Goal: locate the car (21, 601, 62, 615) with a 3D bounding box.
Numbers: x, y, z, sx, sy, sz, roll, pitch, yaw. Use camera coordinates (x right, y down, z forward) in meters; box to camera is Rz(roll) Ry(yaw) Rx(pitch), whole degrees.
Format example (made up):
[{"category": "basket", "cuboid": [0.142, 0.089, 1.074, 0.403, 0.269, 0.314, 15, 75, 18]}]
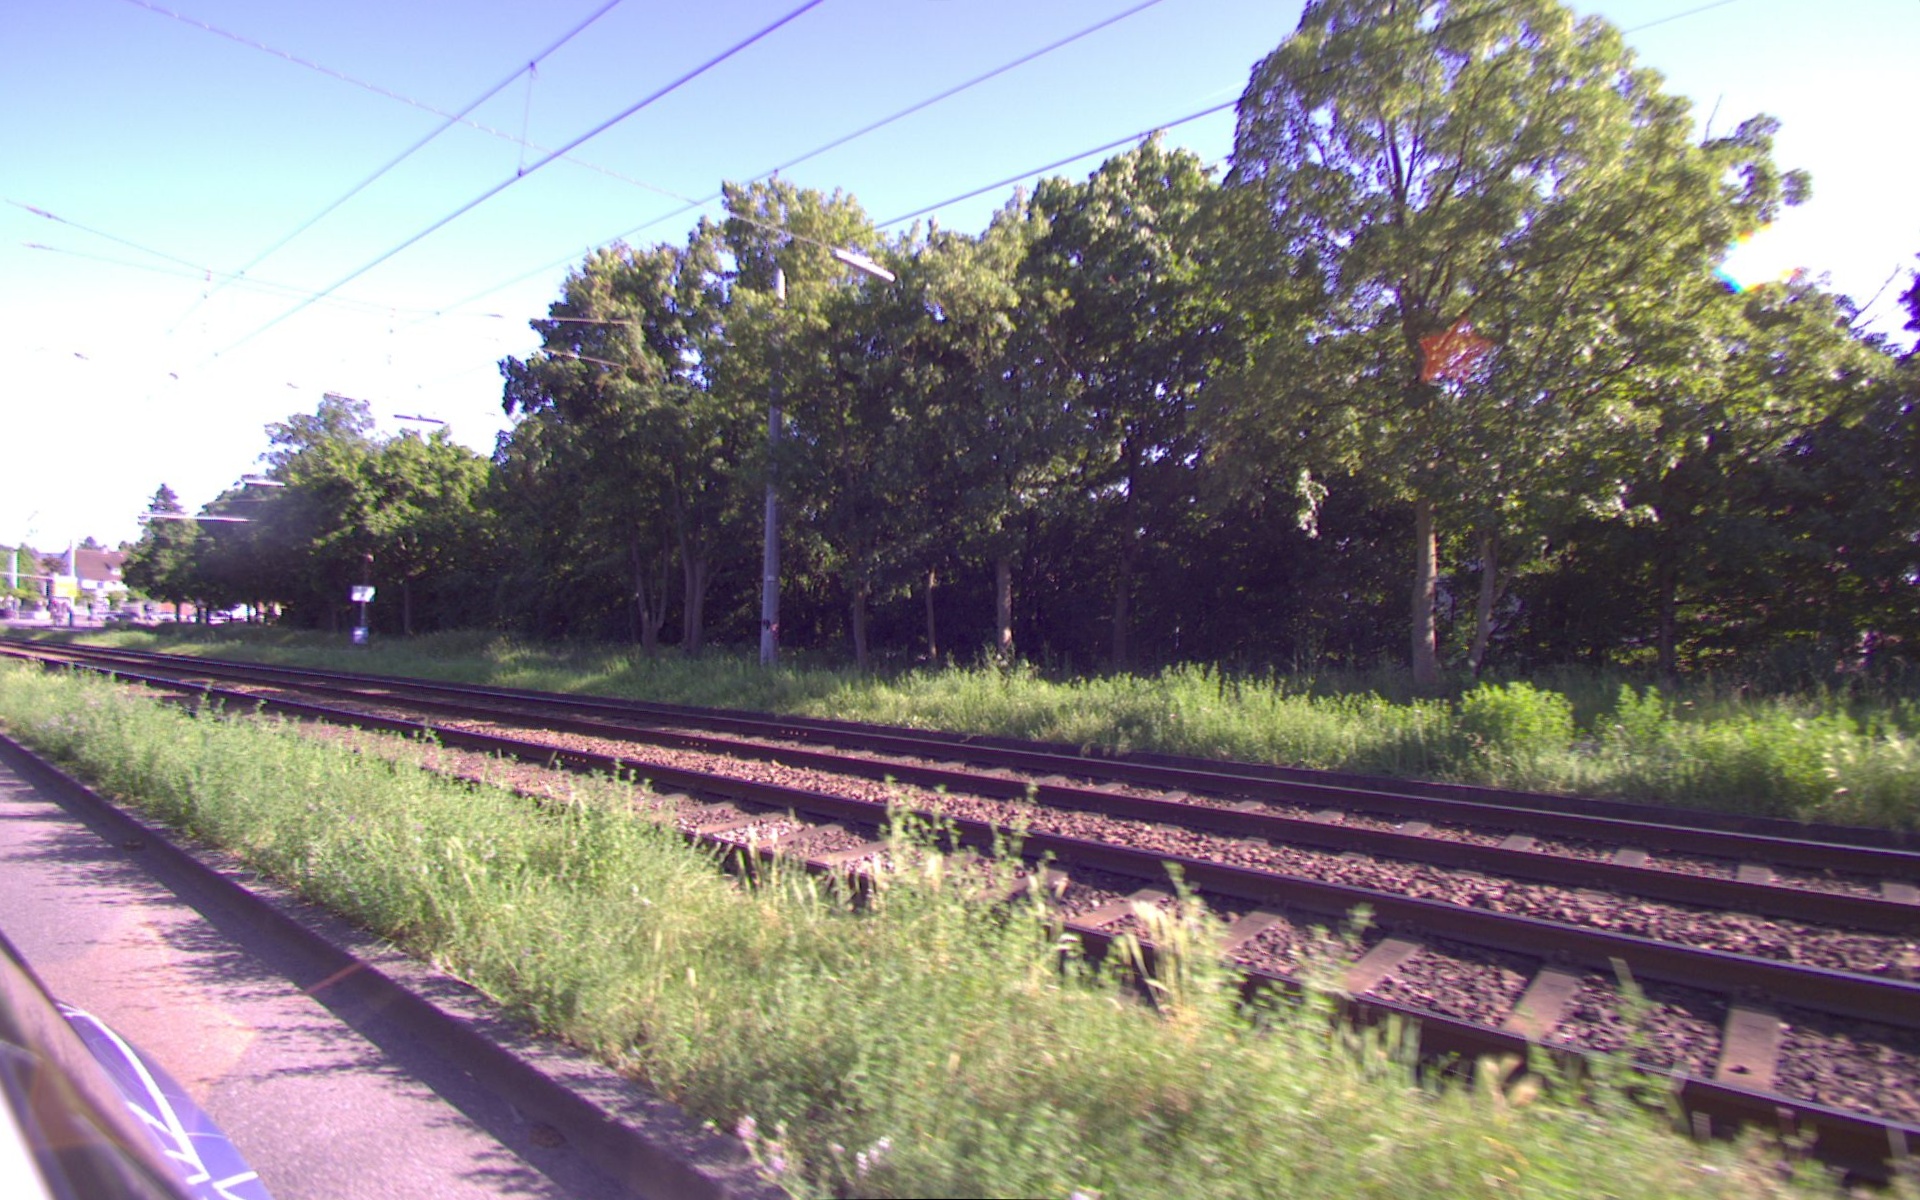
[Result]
[{"category": "car", "cuboid": [-134.087, 1.212, 147.802, 1.958, 1.962, 3.972, -1, 0, 21]}]
